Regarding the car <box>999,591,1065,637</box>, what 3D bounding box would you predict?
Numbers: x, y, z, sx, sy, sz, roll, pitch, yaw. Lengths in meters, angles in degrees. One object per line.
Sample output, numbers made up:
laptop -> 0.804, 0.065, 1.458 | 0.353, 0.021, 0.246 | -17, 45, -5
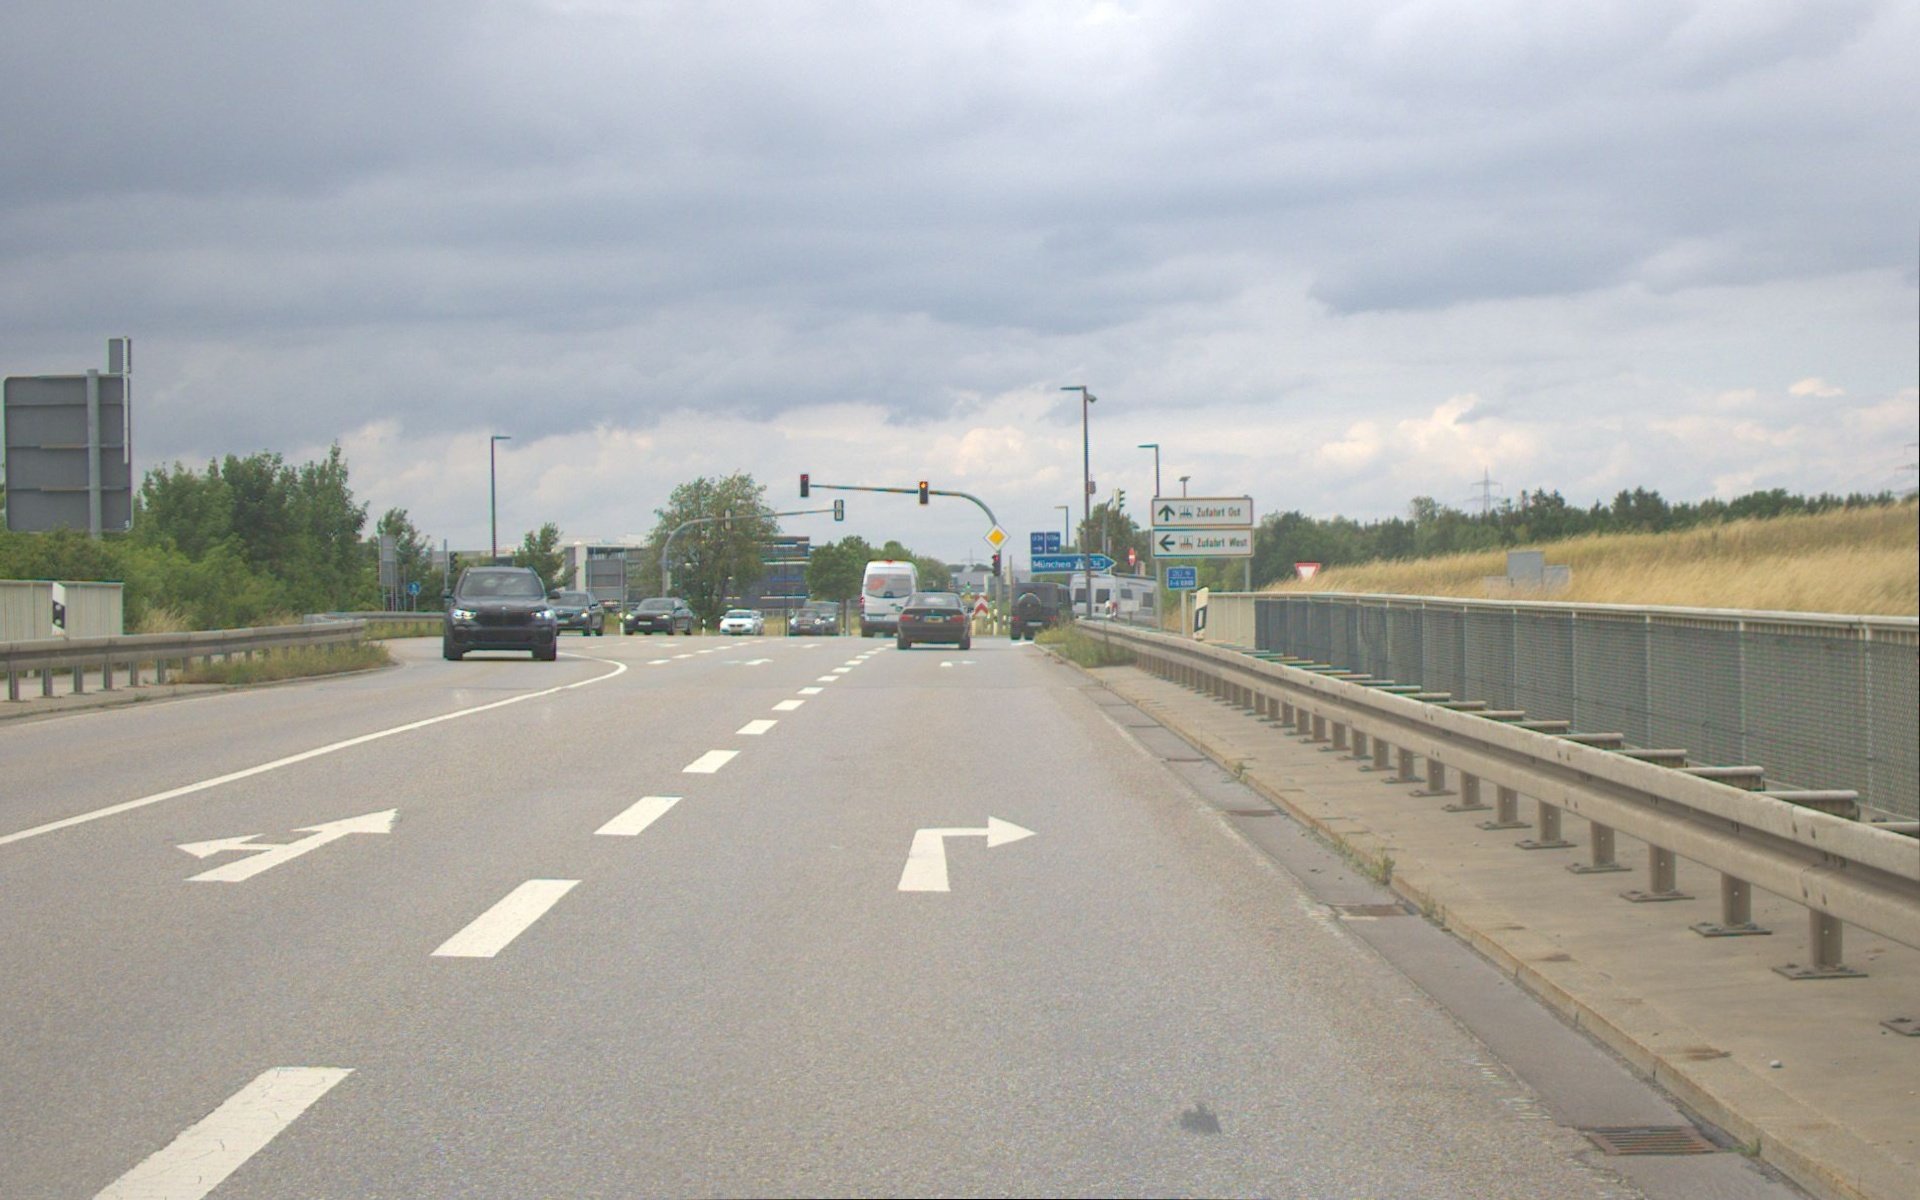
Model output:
car -> 2.488, 0.478, 118.495 | 1.682, 1.539, 3.614 | 0, 0, 11

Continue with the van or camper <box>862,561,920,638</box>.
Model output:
van or camper -> -2.396, -0.014, 119.748 | 1.876, 2.572, 4.000 | 1, 0, 0

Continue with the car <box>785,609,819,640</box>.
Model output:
car -> -8.135, 1.257, 177.248 | 1.693, 1.364, 3.944 | 0, 3, -2

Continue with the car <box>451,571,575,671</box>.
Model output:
car -> -8.285, 0.383, 64.021 | 1.993, 1.726, 4.762 | 2, 0, -4

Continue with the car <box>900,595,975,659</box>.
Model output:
car -> -0.515, 0.623, 80.720 | 1.518, 1.480, 3.615 | 0, 0, 3

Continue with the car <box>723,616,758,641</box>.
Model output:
car -> -11.423, 1.466, 179.016 | 1.480, 1.278, 3.533 | 0, 0, 1

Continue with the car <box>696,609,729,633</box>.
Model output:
car -> -13.456, 1.159, 187.049 | 1.480, 1.278, 3.533 | 0, 0, 1

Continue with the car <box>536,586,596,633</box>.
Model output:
car -> -13.392, 0.318, 116.925 | 1.582, 1.552, 4.146 | 1, 0, 0

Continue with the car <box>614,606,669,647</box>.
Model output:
car -> -12.231, 1.013, 132.315 | 1.808, 1.364, 4.786 | 0, 2, -2
